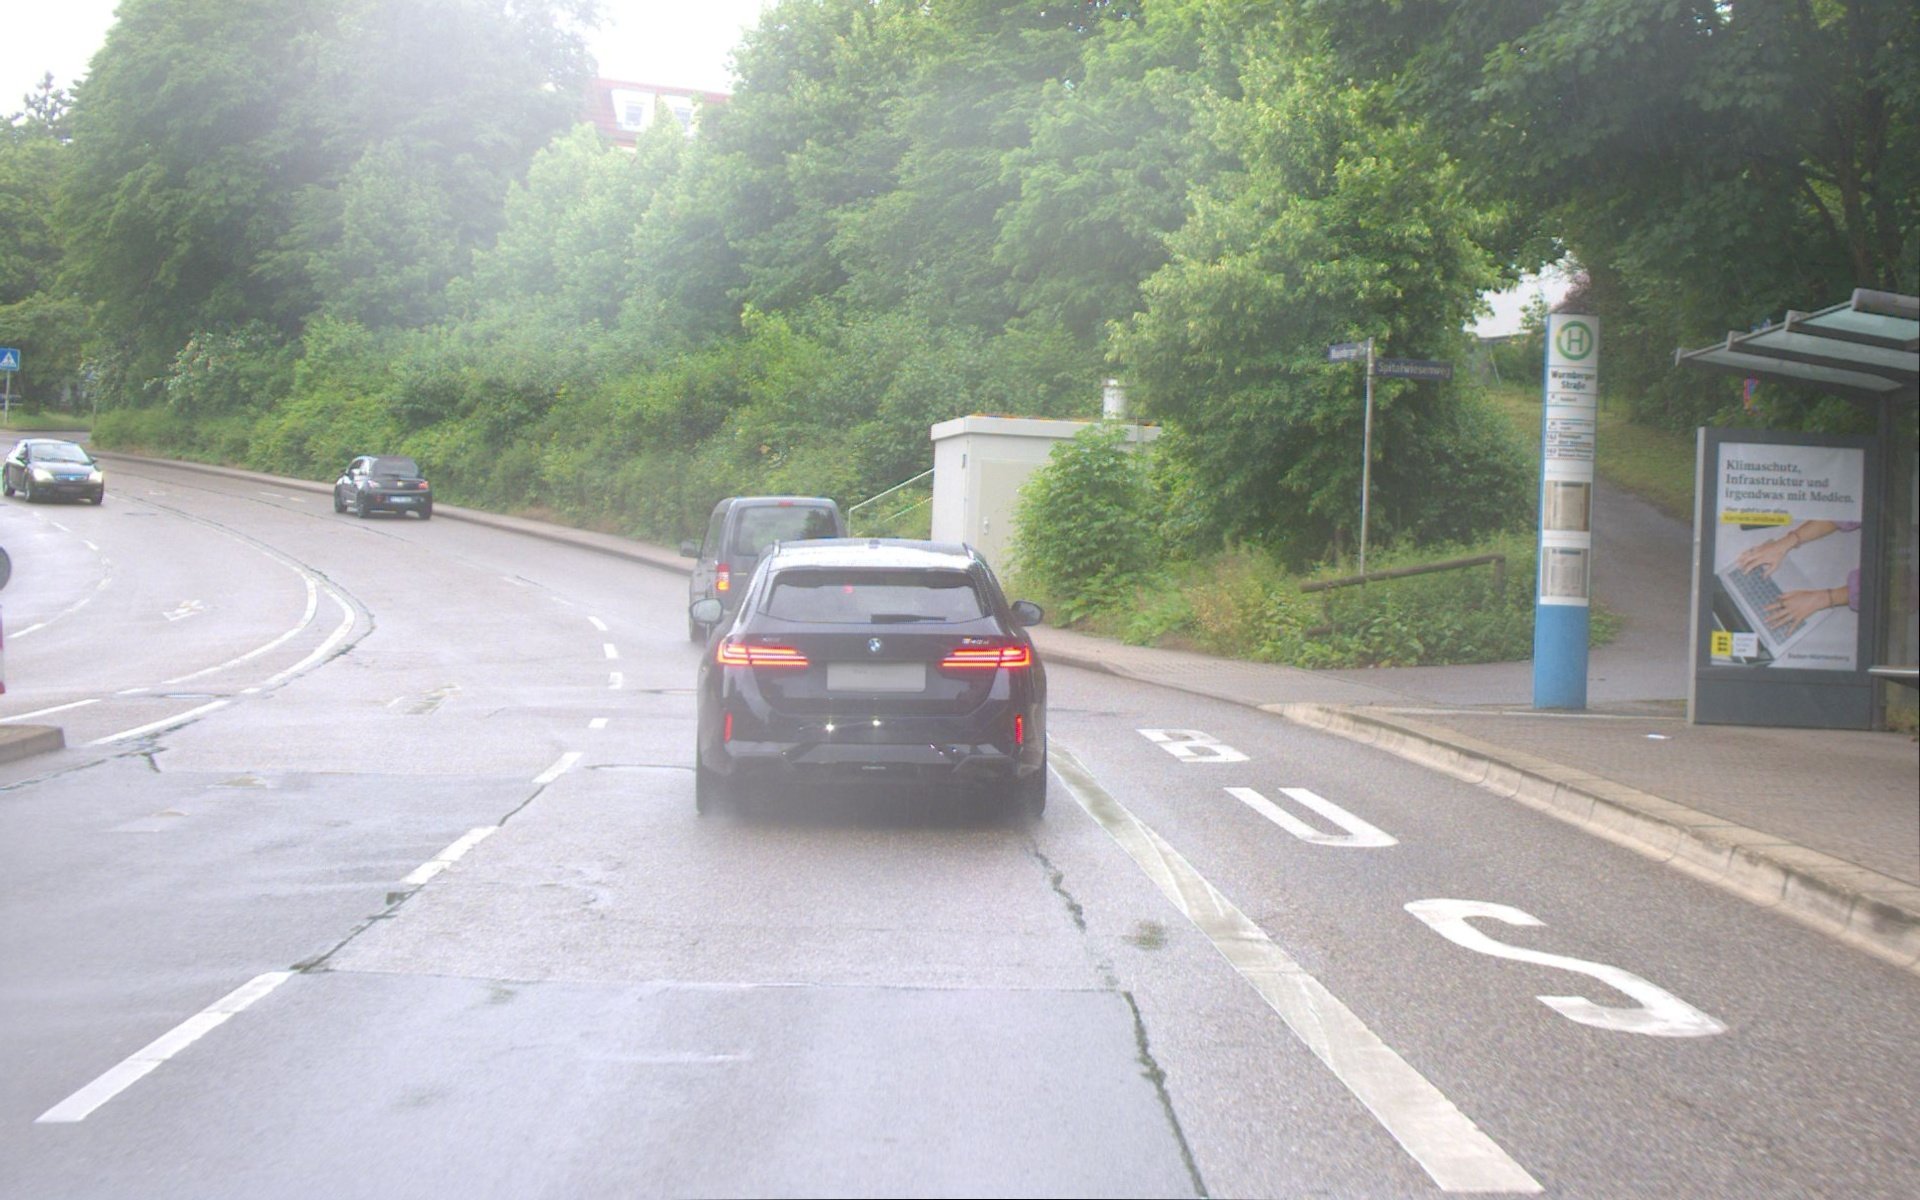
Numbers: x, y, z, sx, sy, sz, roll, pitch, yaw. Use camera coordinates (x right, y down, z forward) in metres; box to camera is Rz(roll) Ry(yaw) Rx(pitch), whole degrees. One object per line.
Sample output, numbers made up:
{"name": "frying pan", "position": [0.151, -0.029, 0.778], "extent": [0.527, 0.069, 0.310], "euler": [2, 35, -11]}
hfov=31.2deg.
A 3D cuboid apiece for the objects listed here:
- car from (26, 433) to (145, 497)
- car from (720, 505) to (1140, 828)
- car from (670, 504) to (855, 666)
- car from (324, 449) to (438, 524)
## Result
{"name": "car", "position": [-21.145, -3.246, 83.015], "extent": [1.891, 1.482, 4.235], "euler": [0, 2, -27]}
{"name": "car", "position": [-0.307, 0.432, 19.808], "extent": [1.993, 1.581, 4.663], "euler": [2, -2, -5]}
{"name": "car", "position": [-2.409, -0.226, 41.019], "extent": [1.993, 1.742, 4.001], "euler": [1, 3, -6]}
{"name": "car", "position": [-13.844, -2.697, 82.059], "extent": [1.851, 1.656, 4.001], "euler": [2, 0, -21]}
